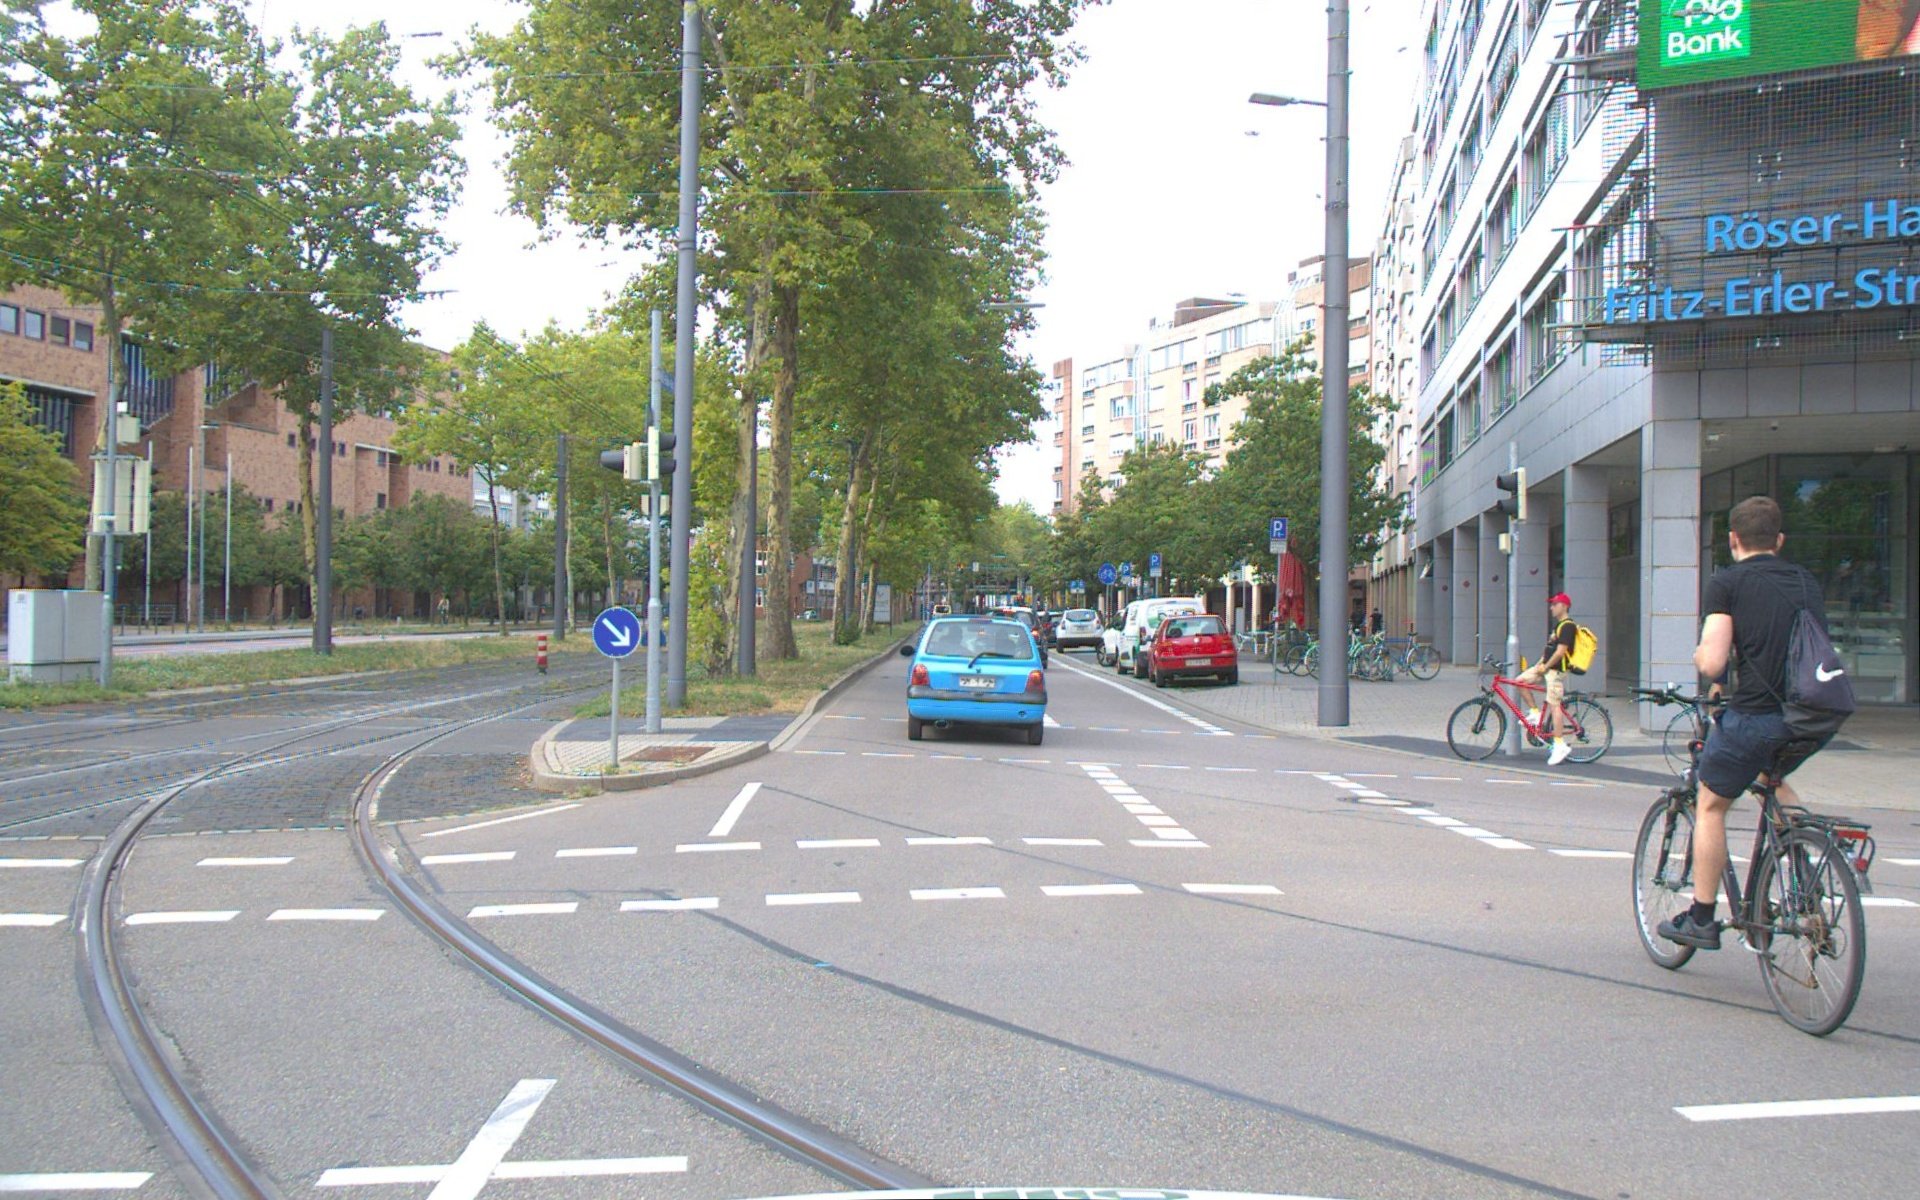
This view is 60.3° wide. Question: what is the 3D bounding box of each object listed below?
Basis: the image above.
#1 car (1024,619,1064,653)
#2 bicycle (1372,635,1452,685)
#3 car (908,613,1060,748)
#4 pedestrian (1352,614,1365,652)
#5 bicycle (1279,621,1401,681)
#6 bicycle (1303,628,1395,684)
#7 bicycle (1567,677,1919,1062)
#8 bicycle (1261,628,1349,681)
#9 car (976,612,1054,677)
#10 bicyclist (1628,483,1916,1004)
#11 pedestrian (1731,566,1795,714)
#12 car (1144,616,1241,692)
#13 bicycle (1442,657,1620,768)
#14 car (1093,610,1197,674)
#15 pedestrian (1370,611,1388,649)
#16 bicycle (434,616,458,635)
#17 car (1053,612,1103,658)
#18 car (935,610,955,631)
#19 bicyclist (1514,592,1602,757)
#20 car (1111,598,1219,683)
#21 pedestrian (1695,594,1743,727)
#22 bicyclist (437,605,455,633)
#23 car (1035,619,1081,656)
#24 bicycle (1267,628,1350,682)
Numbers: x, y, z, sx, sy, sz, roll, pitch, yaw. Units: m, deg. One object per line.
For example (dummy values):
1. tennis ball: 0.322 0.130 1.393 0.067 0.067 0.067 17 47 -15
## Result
1. car: 3.946 1.689 78.235 1.704 1.545 4.401 0 -1 1
2. bicycle: 9.315 1.235 34.099 1.527 1.004 0.422 0 -1 -5
3. car: 0.271 0.897 19.853 1.607 1.410 3.843 2 -1 0
4. pedestrian: 16.704 1.385 69.300 0.501 1.583 0.473 0 -1 13
5. bicycle: 8.506 1.135 37.043 2.578 1.280 0.655 1 -1 0
6. bicycle: 8.116 1.164 34.490 1.814 1.159 0.492 0 -1 -7
7. bicycle: 3.015 0.919 6.380 0.582 1.159 2.091 0 -1 0
8. bicycle: 8.207 1.282 39.366 2.011 1.218 0.480 1 -1 7
9. car: 1.491 1.144 43.609 1.737 1.604 4.307 -1 -1 6
10. bicyclist: 3.020 0.499 6.244 0.577 1.799 1.035 0 -1 0
11. pedestrian: 11.362 0.548 23.418 0.589 2.048 0.675 1 2 6
12. car: 4.844 1.087 34.907 1.686 1.458 4.255 -2 -1 4
13. bicycle: 6.387 1.243 18.573 1.858 1.159 0.727 0 -1 17
14. car: 5.099 1.138 46.225 1.956 1.631 4.577 -2 0 -5
15. pedestrian: 17.524 1.256 69.214 0.695 1.583 0.799 0 -1 13
16. bicycle: -30.418 1.521 97.966 0.654 1.103 2.094 1 0 3
17. car: 4.525 1.326 63.821 1.822 1.682 4.164 0 -1 3
18. car: -1.441 2.006 160.762 1.892 1.959 4.955 0 -1 0
19. bicyclist: 6.672 0.818 18.488 0.894 1.795 0.720 0 -1 17
20. car: 4.865 0.930 39.872 1.790 1.897 4.645 -1 0 -3
21. pedestrian: 10.202 0.804 22.249 0.543 1.756 0.495 1 0 22
22. bicyclist: -30.419 1.130 97.921 0.650 1.618 0.984 1 -1 2
23. car: 4.296 1.611 72.867 1.680 1.545 4.202 -1 -1 -1
24. bicycle: 8.171 1.285 38.832 1.868 1.218 0.480 1 -1 7
